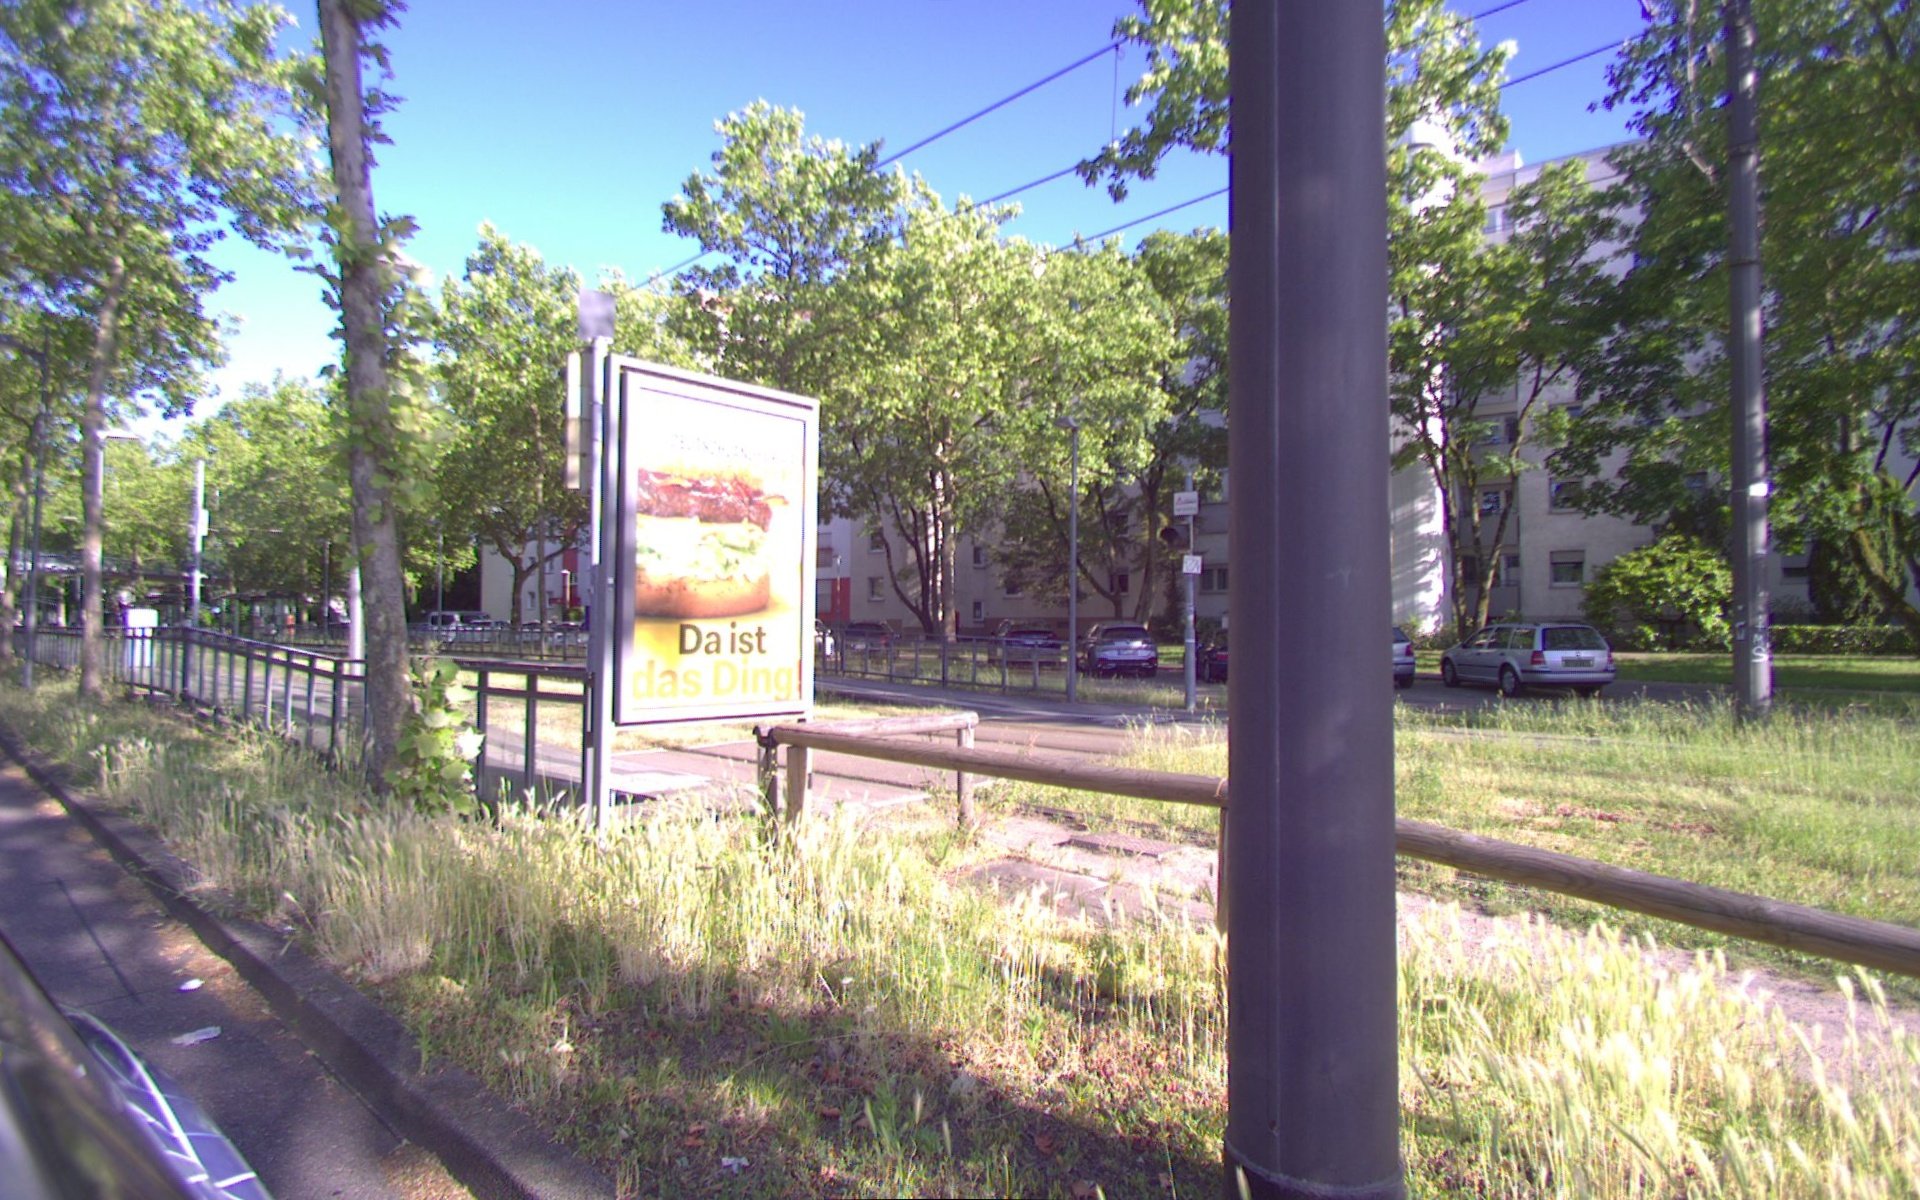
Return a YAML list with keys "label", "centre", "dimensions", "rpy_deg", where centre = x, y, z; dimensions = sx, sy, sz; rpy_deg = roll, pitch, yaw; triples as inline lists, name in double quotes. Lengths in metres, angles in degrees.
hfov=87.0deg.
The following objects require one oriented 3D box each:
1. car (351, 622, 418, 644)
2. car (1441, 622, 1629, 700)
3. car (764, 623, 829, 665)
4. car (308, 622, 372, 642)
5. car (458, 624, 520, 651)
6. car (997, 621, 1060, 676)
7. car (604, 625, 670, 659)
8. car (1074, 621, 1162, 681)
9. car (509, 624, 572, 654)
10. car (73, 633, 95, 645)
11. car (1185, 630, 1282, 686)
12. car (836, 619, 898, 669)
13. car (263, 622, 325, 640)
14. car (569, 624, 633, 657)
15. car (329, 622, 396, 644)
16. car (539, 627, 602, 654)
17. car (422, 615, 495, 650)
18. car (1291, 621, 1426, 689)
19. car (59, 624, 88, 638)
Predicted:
- label: "car"
  centre: [-37.793, 2.129, 66.592]
  dimensions: [1.898, 1.386, 4.365]
  rpy_deg: [0, -1, 1]
- label: "car"
  centre: [11.546, 1.173, 20.632]
  dimensions: [1.707, 1.444, 3.681]
  rpy_deg: [0, -1, 1]
- label: "car"
  centre: [-5.911, 1.567, 36.921]
  dimensions: [1.664, 1.444, 3.679]
  rpy_deg: [0, -1, 2]
- label: "car"
  centre: [-44.647, 2.276, 72.987]
  dimensions: [1.898, 1.386, 4.365]
  rpy_deg: [0, -1, 1]
- label: "car"
  centre: [-25.800, 2.030, 55.522]
  dimensions: [1.627, 1.407, 3.680]
  rpy_deg: [0, -1, 1]
- label: "car"
  centre: [1.932, 1.364, 29.449]
  dimensions: [1.664, 1.482, 3.680]
  rpy_deg: [0, -1, 1]
- label: "car"
  centre: [-14.085, 1.815, 44.283]
  dimensions: [1.627, 1.403, 3.679]
  rpy_deg: [0, -1, 2]
- label: "car"
  centre: [4.205, 1.342, 27.496]
  dimensions: [1.894, 1.507, 3.680]
  rpy_deg: [0, -1, 2]
- label: "car"
  centre: [-21.126, 1.954, 51.137]
  dimensions: [1.627, 1.460, 3.680]
  rpy_deg: [0, -1, 1]
- label: "car"
  centre: [-109.099, 4.867, 126.052]
  dimensions: [3.294, 1.370, 1.651]
  rpy_deg: [-1, -2, 41]
- label: "car"
  centre: [6.727, 1.397, 25.210]
  dimensions: [1.602, 1.256, 3.677]
  rpy_deg: [0, -1, 4]
- label: "car"
  centre: [-3.109, 1.454, 34.471]
  dimensions: [1.664, 1.579, 3.679]
  rpy_deg: [0, -1, 2]
- label: "car"
  centre: [-52.148, 2.398, 79.367]
  dimensions: [1.898, 1.386, 4.365]
  rpy_deg: [0, -1, 1]
- label: "car"
  centre: [-16.684, 1.838, 47.139]
  dimensions: [1.627, 1.460, 3.680]
  rpy_deg: [0, -1, 1]
- label: "car"
  centre: [-40.285, 2.199, 68.394]
  dimensions: [1.898, 1.386, 4.365]
  rpy_deg: [0, -1, 1]
- label: "car"
  centre: [-19.048, 1.976, 49.669]
  dimensions: [1.627, 1.251, 3.680]
  rpy_deg: [0, -1, 1]
- label: "car"
  centre: [-28.329, 1.821, 57.331]
  dimensions: [1.898, 1.898, 4.365]
  rpy_deg: [0, -1, 1]
- label: "car"
  centre: [9.151, 1.216, 23.531]
  dimensions: [1.679, 1.444, 3.681]
  rpy_deg: [0, -1, 1]
- label: "car"
  centre: [-99.220, 3.453, 113.260]
  dimensions: [4.366, 1.586, 1.898]
  rpy_deg: [-1, -2, 42]
